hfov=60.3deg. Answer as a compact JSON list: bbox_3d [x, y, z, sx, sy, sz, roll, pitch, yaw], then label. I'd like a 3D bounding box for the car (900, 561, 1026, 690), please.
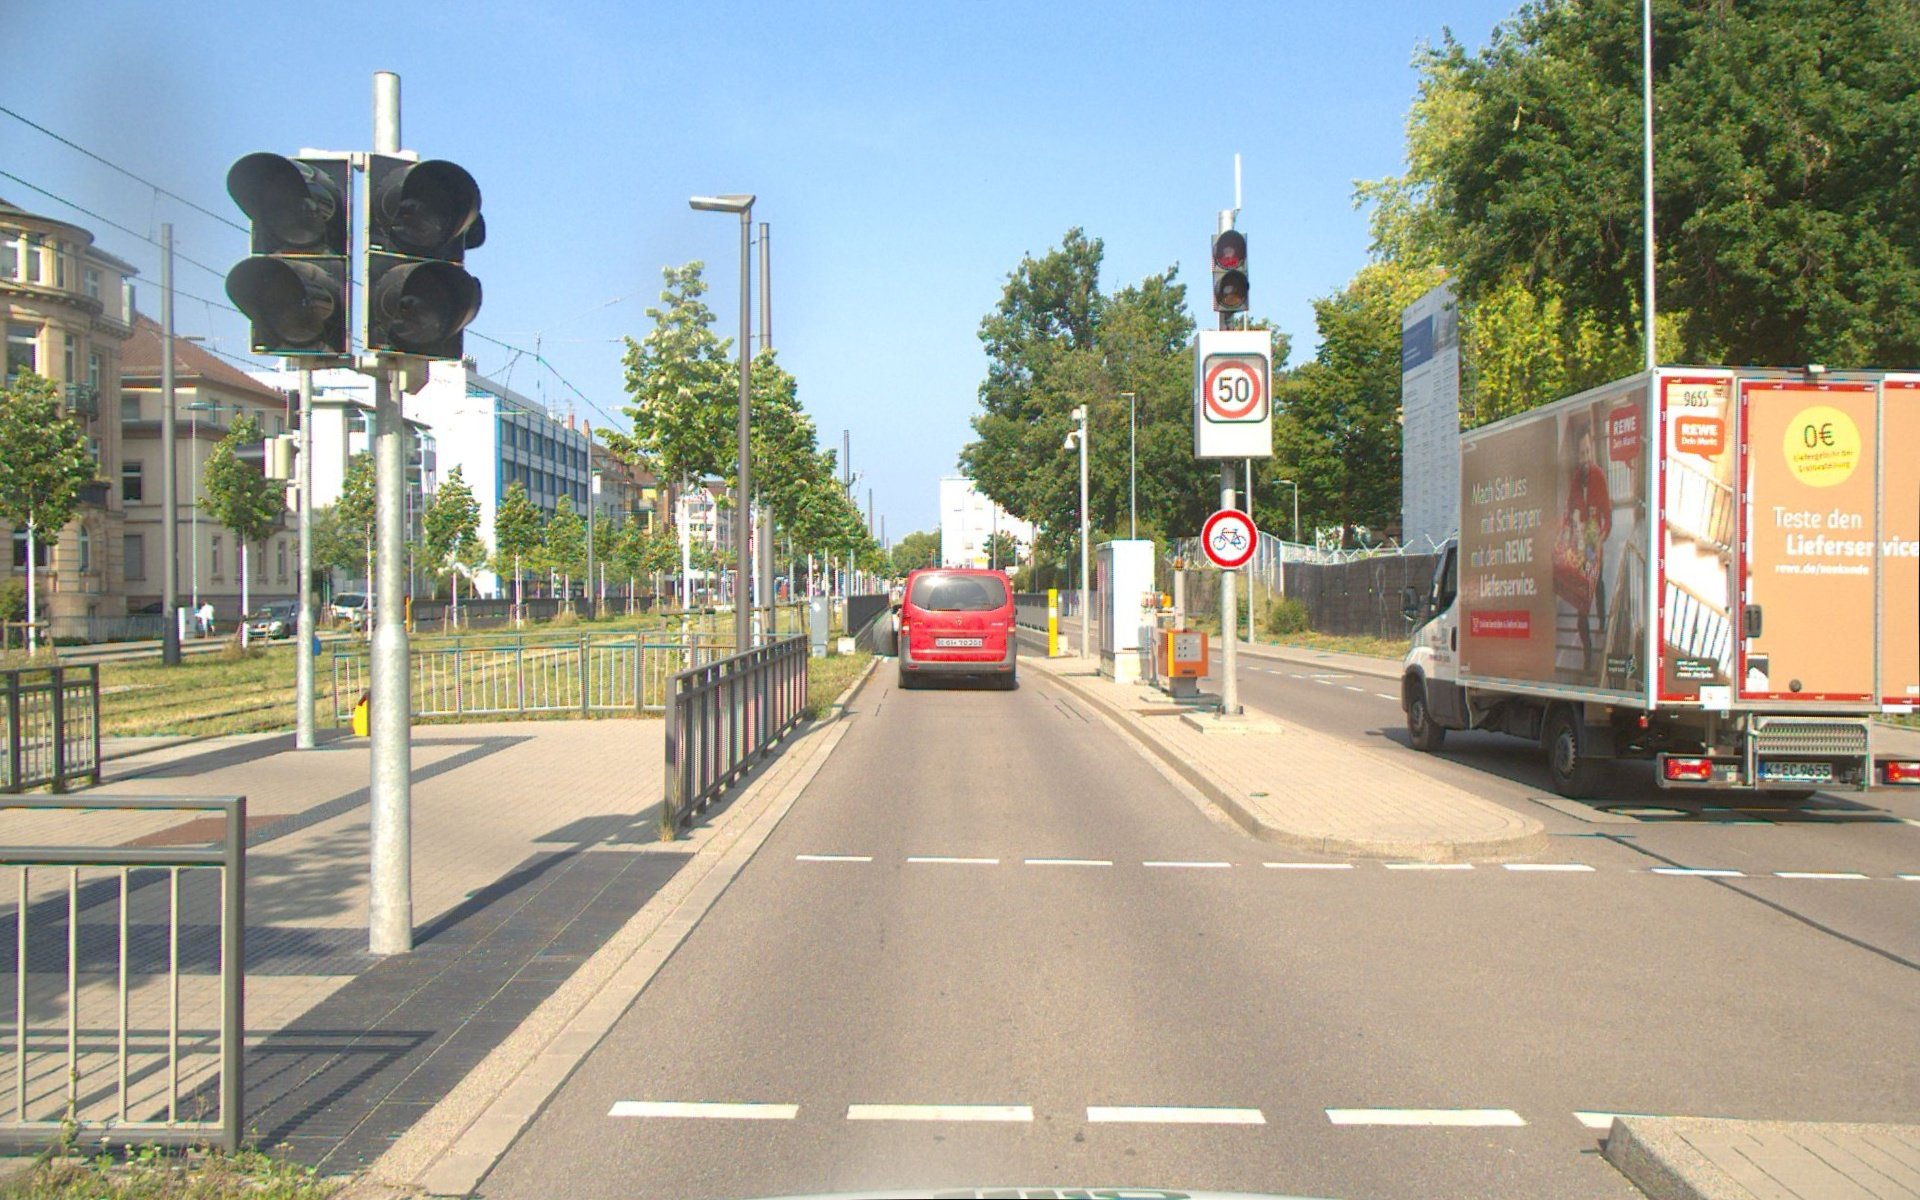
[{"bbox_3d":[0.044,0.377,26.884,1.862,1.892,4.000,1,0,0],"label":"car"}]

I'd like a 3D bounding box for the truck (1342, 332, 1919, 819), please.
[{"bbox_3d":[5.666,-0.124,14.664,2.452,3.114,7.816,1,0,-2],"label":"truck"}]

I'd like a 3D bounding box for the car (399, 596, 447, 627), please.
[{"bbox_3d":[-28.593,0.607,88.163,1.488,1.489,3.823,-1,2,-3],"label":"car"}]

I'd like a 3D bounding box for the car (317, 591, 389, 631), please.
[{"bbox_3d":[-33.392,0.643,91.165,2.204,2.049,5.259,2,-2,-3],"label":"car"}]

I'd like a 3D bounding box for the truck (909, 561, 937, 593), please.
[{"bbox_3d":[-4.675,-2.787,205.510,3.323,3.791,10.447,-1,0,-2],"label":"truck"}]

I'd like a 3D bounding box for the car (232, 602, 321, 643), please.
[{"bbox_3d":[-28.401,0.902,68.889,1.953,1.604,4.526,-1,0,-2],"label":"car"}]
